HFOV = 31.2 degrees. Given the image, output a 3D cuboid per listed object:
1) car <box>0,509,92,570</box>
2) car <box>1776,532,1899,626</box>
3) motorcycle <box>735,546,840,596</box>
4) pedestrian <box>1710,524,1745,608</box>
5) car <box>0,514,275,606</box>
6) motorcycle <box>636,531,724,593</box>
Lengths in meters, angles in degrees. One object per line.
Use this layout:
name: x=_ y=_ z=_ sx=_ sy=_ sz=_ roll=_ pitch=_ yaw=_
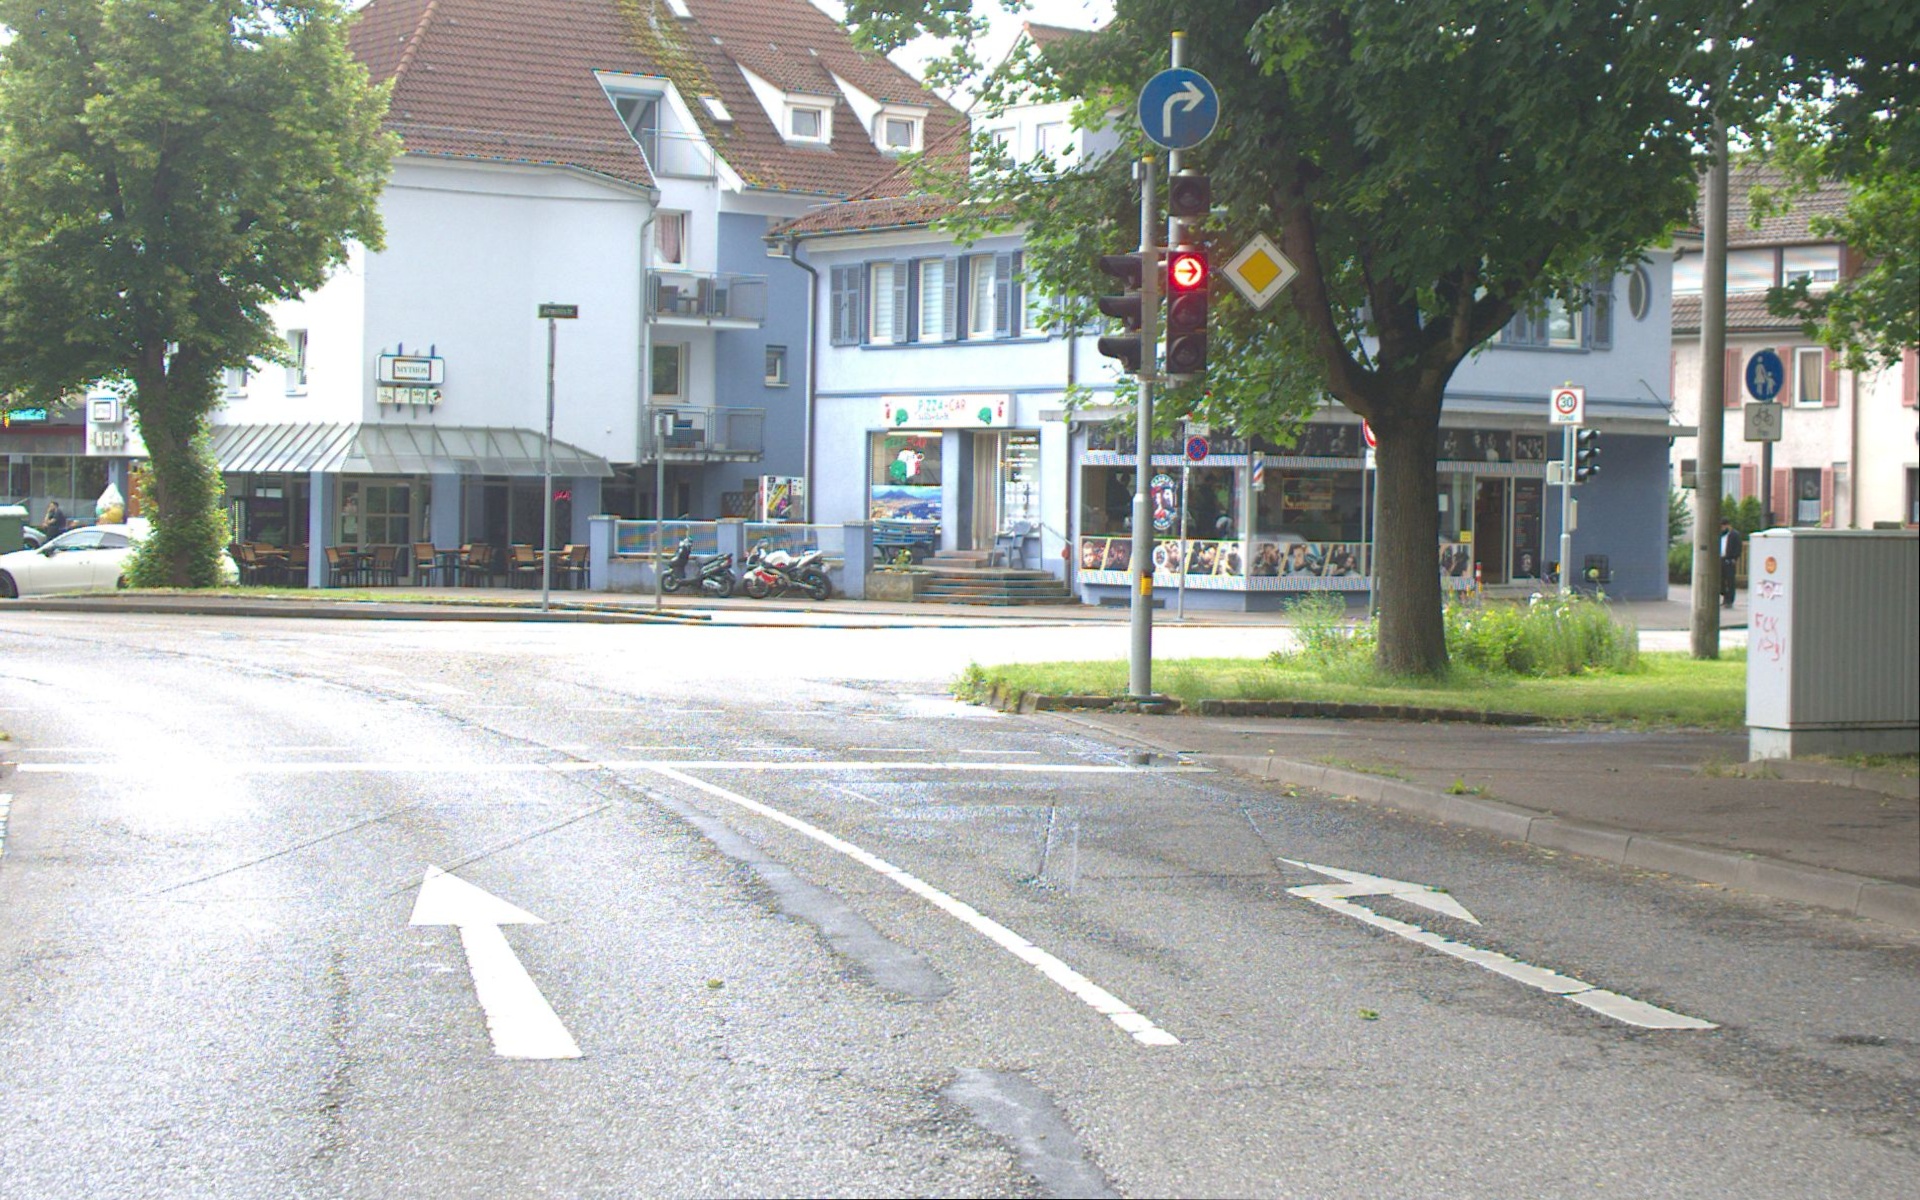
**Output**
car: x=-23.915 y=-1.514 z=85.874 sx=3.987 sy=1.481 sz=1.760 roll=-1 pitch=2 yaw=-33
car: x=18.019 y=-0.453 z=70.517 sx=1.858 sy=1.859 sz=3.557 roll=0 pitch=2 yaw=25
motorcycle: x=-3.176 y=-0.535 z=63.252 sx=1.838 sy=0.845 sz=0.560 roll=0 pitch=7 yaw=23
pedestrian: x=14.309 y=-0.639 z=64.126 sx=0.404 sy=1.546 sz=0.500 roll=-1 pitch=2 yaw=-41
car: x=-14.148 y=-0.686 z=58.311 sx=4.582 sy=1.512 sz=1.998 roll=0 pitch=1 yaw=21
motorcycle: x=-5.266 y=-0.719 z=64.582 sx=1.496 sy=1.103 sz=0.560 roll=0 pitch=7 yaw=19
